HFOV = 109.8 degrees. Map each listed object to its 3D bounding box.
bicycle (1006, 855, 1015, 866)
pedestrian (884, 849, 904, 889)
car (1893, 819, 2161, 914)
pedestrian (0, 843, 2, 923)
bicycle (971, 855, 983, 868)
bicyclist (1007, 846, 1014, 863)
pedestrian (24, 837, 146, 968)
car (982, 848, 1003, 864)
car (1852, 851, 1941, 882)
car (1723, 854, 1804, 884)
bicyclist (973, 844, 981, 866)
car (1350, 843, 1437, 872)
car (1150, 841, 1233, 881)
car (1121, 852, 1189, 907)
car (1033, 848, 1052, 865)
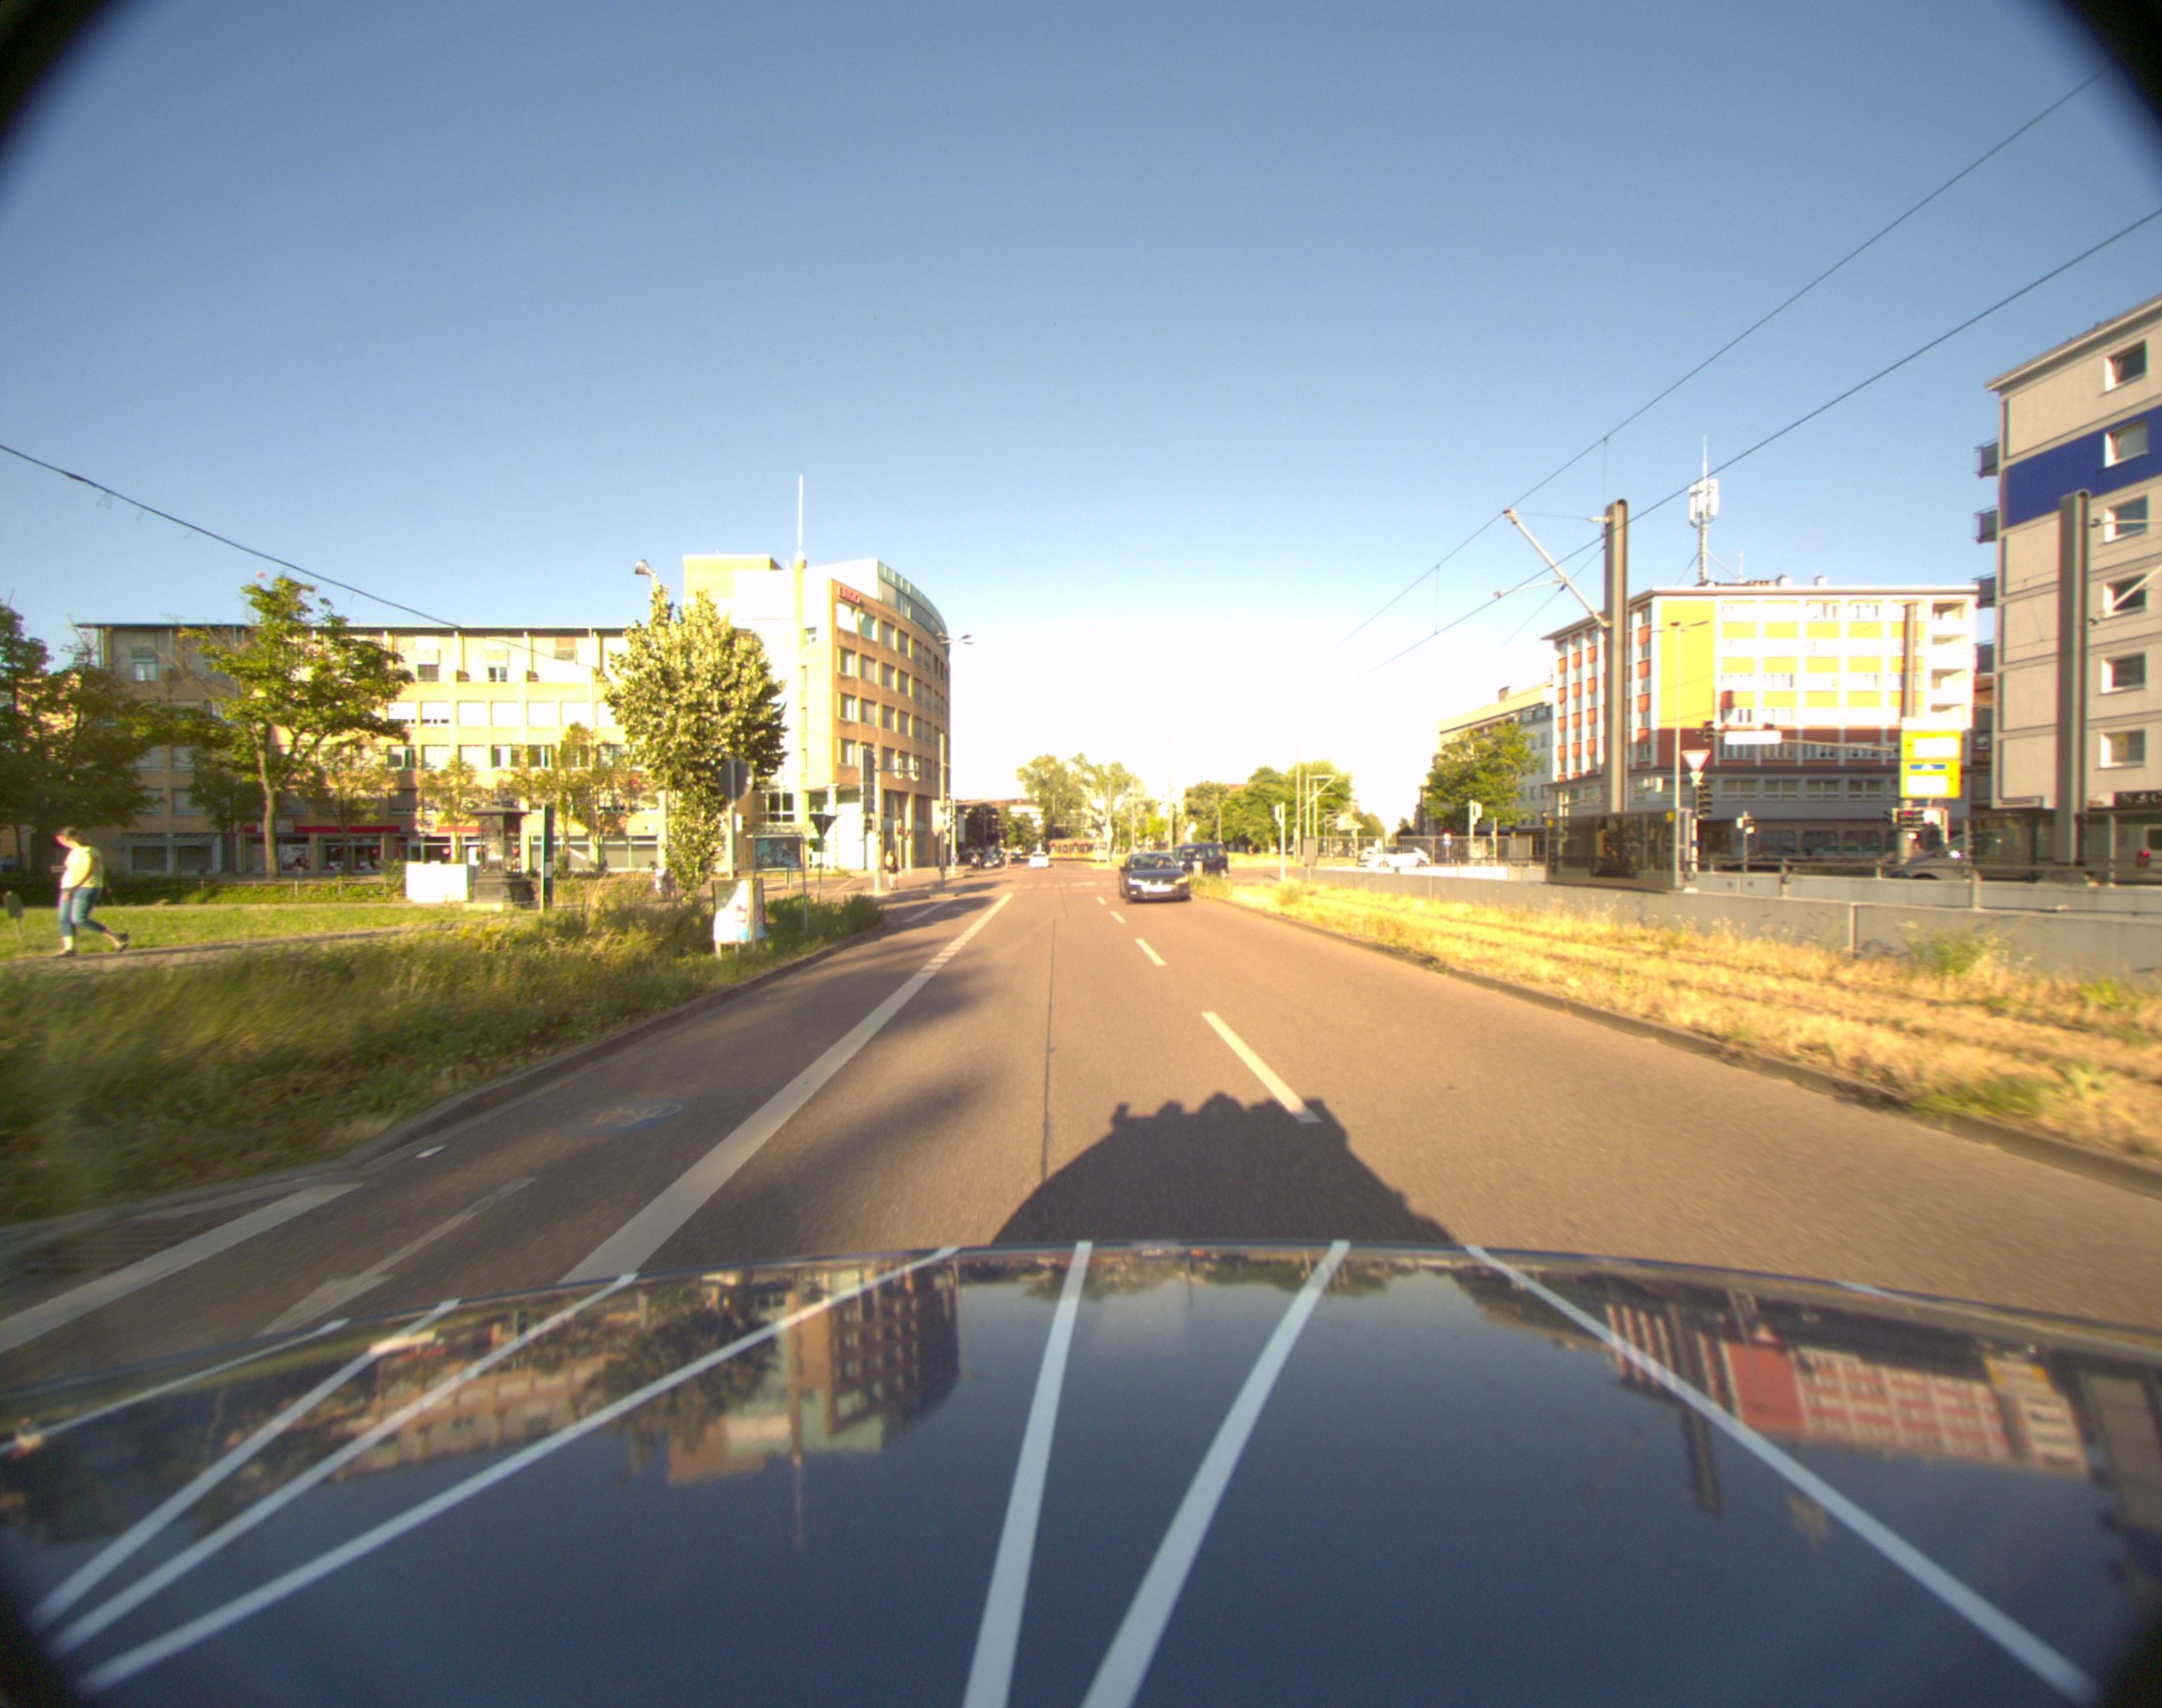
[{"bbox_3d":[-6.497,0.592,70.242,0.608,0.923,1.777,0,1,2],"label":"bicycle"},{"bbox_3d":[-8.182,0.655,33.273,0.651,1.714,0.715,0,1,1],"label":"pedestrian"},{"bbox_3d":[23.191,0.225,18.325,1.999,2.002,4.773,-1,1,-2],"label":"car"},{"bbox_3d":[-13.263,0.675,8.607,0.740,1.640,0.916,2,1,3],"label":"pedestrian"},{"bbox_3d":[-9.101,0.654,66.694,0.700,1.044,1.979,-2,0,2],"label":"bicycle"},{"bbox_3d":[-6.505,0.051,70.273,0.552,1.600,0.832,-1,1,1],"label":"bicyclist"},{"bbox_3d":[-13.385,0.627,10.236,0.599,1.679,0.782,2,1,3],"label":"pedestrian"},{"bbox_3d":[-8.962,0.199,77.015,1.770,1.464,4.012,-2,1,-2],"label":"car"},{"bbox_3d":[52.954,0.789,49.380,3.997,1.770,1.742,-2,2,-1],"label":"car"},{"bbox_3d":[46.587,1.019,51.885,3.997,1.770,1.742,-2,2,-1],"label":"car"},{"bbox_3d":[-9.128,0.071,66.660,0.578,1.927,0.697,-2,1,1],"label":"bicyclist"},{"bbox_3d":[17.586,0.158,42.790,4.281,1.528,1.832,-1,1,-16],"label":"car"},{"bbox_3d":[5.199,0.284,35.332,1.766,1.722,4.156,0,1,42],"label":"car"},{"bbox_3d":[2.254,0.688,22.564,1.769,1.418,4.247,-2,0,7],"label":"car"},{"bbox_3d":[-3.678,0.210,73.256,1.770,1.464,4.012,-2,1,-2],"label":"car"}]
